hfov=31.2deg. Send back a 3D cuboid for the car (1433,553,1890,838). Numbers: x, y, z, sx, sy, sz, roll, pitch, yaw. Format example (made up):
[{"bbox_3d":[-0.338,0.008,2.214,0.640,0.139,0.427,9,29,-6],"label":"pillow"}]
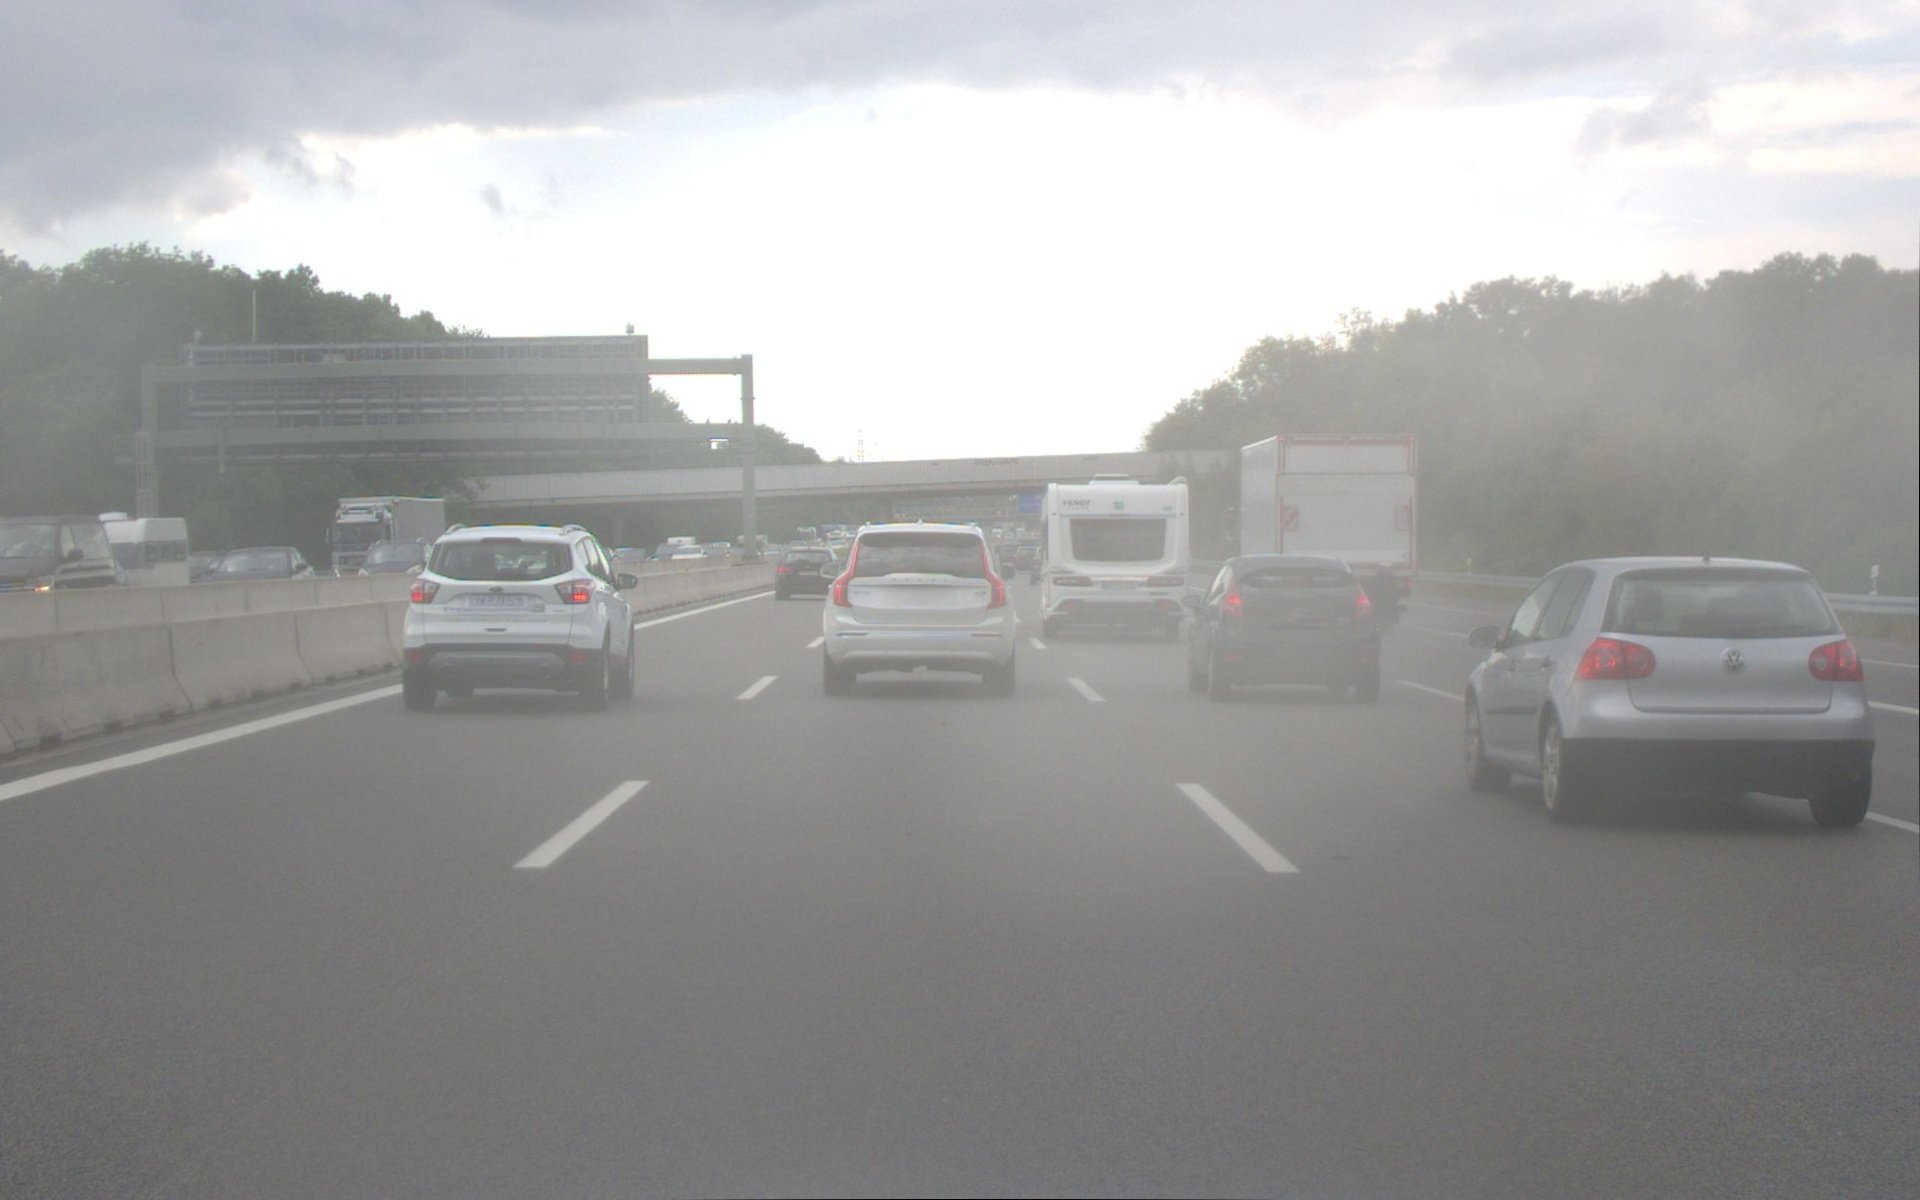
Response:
[{"bbox_3d":[3.966,0.476,20.087,1.795,1.472,4.038,0,1,-1],"label":"car"}]

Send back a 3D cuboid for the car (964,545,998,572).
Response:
[{"bbox_3d":[1.299,-2.601,213.919,1.881,1.680,4.001,0,1,-3],"label":"car"}]

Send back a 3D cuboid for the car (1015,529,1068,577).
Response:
[{"bbox_3d":[3.161,-1.833,134.191,2.043,1.817,4.904,0,1,1],"label":"car"}]

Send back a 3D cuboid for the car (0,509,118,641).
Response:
[{"bbox_3d":[-15.176,-0.435,55.199,1.993,2.007,5.758,0,1,-1],"label":"car"}]

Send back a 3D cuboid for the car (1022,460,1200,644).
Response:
[{"bbox_3d":[2.459,-0.827,58.183,2.567,2.885,7.534,0,1,-1],"label":"car"}]

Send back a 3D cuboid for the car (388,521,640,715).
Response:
[{"bbox_3d":[-4.121,0.106,32.455,1.815,1.684,4.852,0,1,-1],"label":"car"}]

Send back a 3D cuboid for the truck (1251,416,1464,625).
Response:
[{"bbox_3d":[7.471,-1.502,65.899,3.133,3.697,9.847,0,1,1],"label":"truck"}]

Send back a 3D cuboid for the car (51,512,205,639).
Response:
[{"bbox_3d":[-22.200,-0.696,92.055,2.660,3.266,6.563,0,1,-1],"label":"car"}]

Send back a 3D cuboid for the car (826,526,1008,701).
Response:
[{"bbox_3d":[-0.461,0.091,35.940,1.781,1.710,4.353,0,1,-1],"label":"car"}]

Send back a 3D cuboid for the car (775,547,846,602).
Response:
[{"bbox_3d":[-4.173,-0.733,96.571,1.781,1.476,4.353,0,1,0],"label":"car"}]

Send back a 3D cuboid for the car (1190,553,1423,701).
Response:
[{"bbox_3d":[3.479,0.234,35.266,1.885,1.402,4.283,0,1,-1],"label":"car"}]
